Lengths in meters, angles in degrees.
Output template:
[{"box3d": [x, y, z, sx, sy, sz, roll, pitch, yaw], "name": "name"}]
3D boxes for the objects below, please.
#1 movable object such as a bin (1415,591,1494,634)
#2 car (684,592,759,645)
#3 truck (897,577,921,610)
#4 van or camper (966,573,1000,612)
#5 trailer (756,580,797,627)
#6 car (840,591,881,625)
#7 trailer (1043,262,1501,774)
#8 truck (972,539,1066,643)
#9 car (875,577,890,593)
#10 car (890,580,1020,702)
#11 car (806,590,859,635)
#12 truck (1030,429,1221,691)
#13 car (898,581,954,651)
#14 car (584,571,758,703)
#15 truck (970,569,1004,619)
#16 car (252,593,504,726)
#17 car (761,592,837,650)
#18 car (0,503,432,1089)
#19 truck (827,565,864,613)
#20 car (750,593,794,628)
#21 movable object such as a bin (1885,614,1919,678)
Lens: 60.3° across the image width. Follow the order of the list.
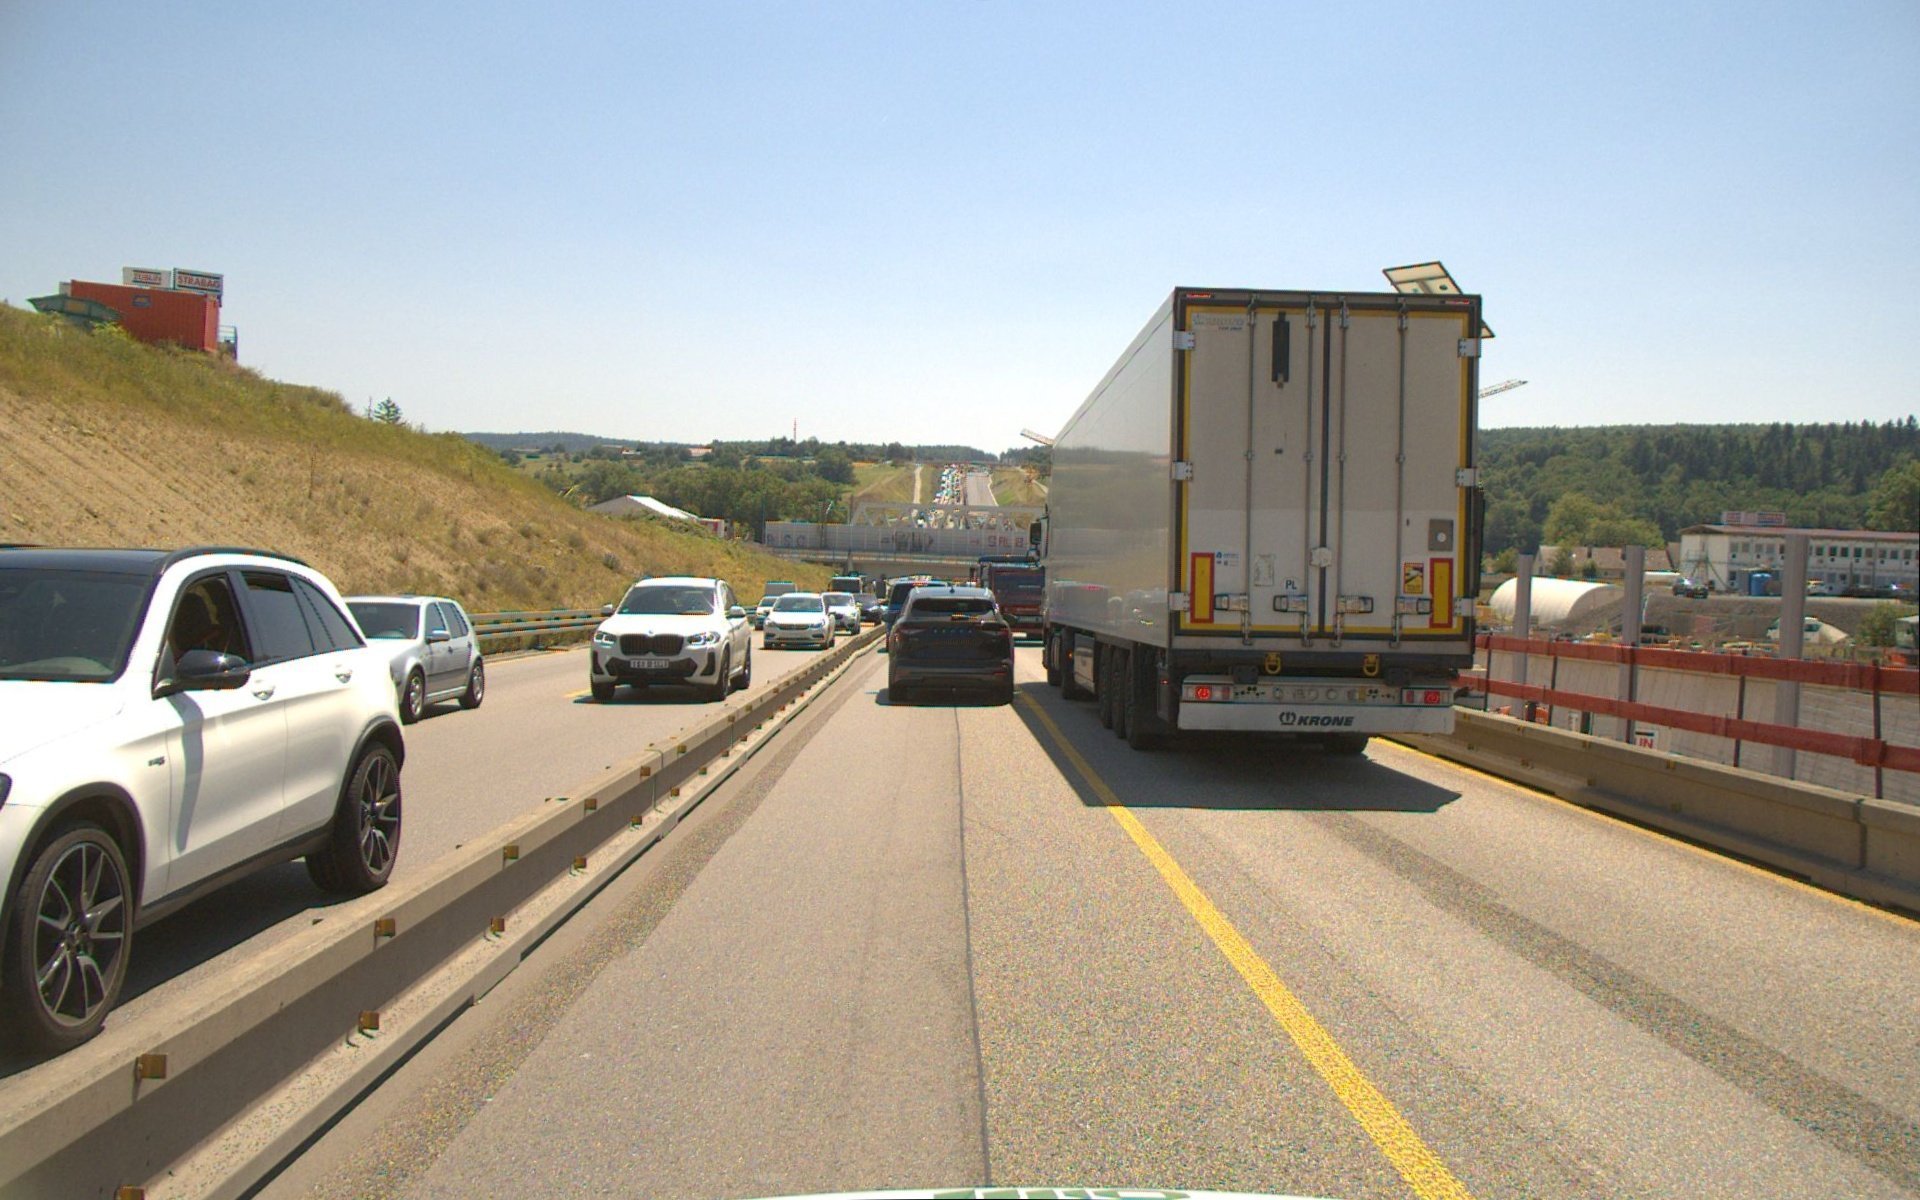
[{"box3d": [35.548, 0.870, 119.312, 2.828, 2.960, 9.478, 1, 0, 0], "name": "movable object such as a bin"}, {"box3d": [-7.600, 0.558, 53.071, 1.861, 1.612, 4.513, 1, 0, -2], "name": "car"}, {"box3d": [-6.203, -0.799, 201.600, 2.711, 3.952, 4.963, 1, 0, -1], "name": "truck"}, {"box3d": [1.395, -0.492, 102.512, 1.953, 2.283, 4.000, 2, 0, 0], "name": "van or camper"}, {"box3d": [-8.190, 0.138, 74.073, 1.614, 2.061, 4.267, 0, 0, -3], "name": "trailer"}, {"box3d": [-5.180, 0.395, 86.522, 1.852, 1.738, 4.561, 0, 0, 0], "name": "car"}, {"box3d": [2.890, -0.642, 20.478, 2.744, 4.129, 14.113, 1, 0, -1], "name": "trailer"}, {"box3d": [1.879, -0.273, 57.660, 2.756, 3.190, 12.836, 1, 0, 0], "name": "truck"}, {"box3d": [-9.481, -1.826, 202.728, 1.697, 1.825, 3.579, 1, 0, -1], "name": "car"}, {"box3d": [-0.095, 0.535, 24.242, 1.764, 1.648, 3.297, 1, 1, -1], "name": "car"}, {"box3d": [-4.832, 0.448, 63.249, 1.779, 1.620, 4.289, 1, 0, -2], "name": "car"}, {"box3d": [2.736, -0.628, 28.706, 2.720, 4.129, 4.903, 1, 0, -1], "name": "truck"}, {"box3d": [-0.915, 0.408, 45.306, 1.444, 1.826, 3.297, 0, 0, 0], "name": "car"}, {"box3d": [-4.125, 0.484, 24.296, 1.853, 1.738, 4.560, 1, 0, -2], "name": "car"}, {"box3d": [2.251, -0.503, 139.781, 2.467, 4.028, 7.598, 2, 0, -1], "name": "truck"}, {"box3d": [-6.781, 0.629, 19.715, 1.667, 1.403, 3.966, 1, 0, -2], "name": "car"}, {"box3d": [-4.388, 0.546, 45.643, 1.769, 1.503, 4.279, 1, 0, -2], "name": "car"}, {"box3d": [-3.664, 0.541, 6.650, 1.776, 1.666, 4.361, 1, 0, -2], "name": "car"}, {"box3d": [-9.394, -0.851, 136.303, 2.534, 3.788, 9.330, 0, 0, -1], "name": "truck"}, {"box3d": [-8.017, 0.443, 70.807, 1.614, 1.440, 3.997, 0, 0, -3], "name": "car"}, {"box3d": [35.674, 1.697, 59.974, 1.953, 2.278, 4.151, 1, 0, 0], "name": "movable object such as a bin"}]
